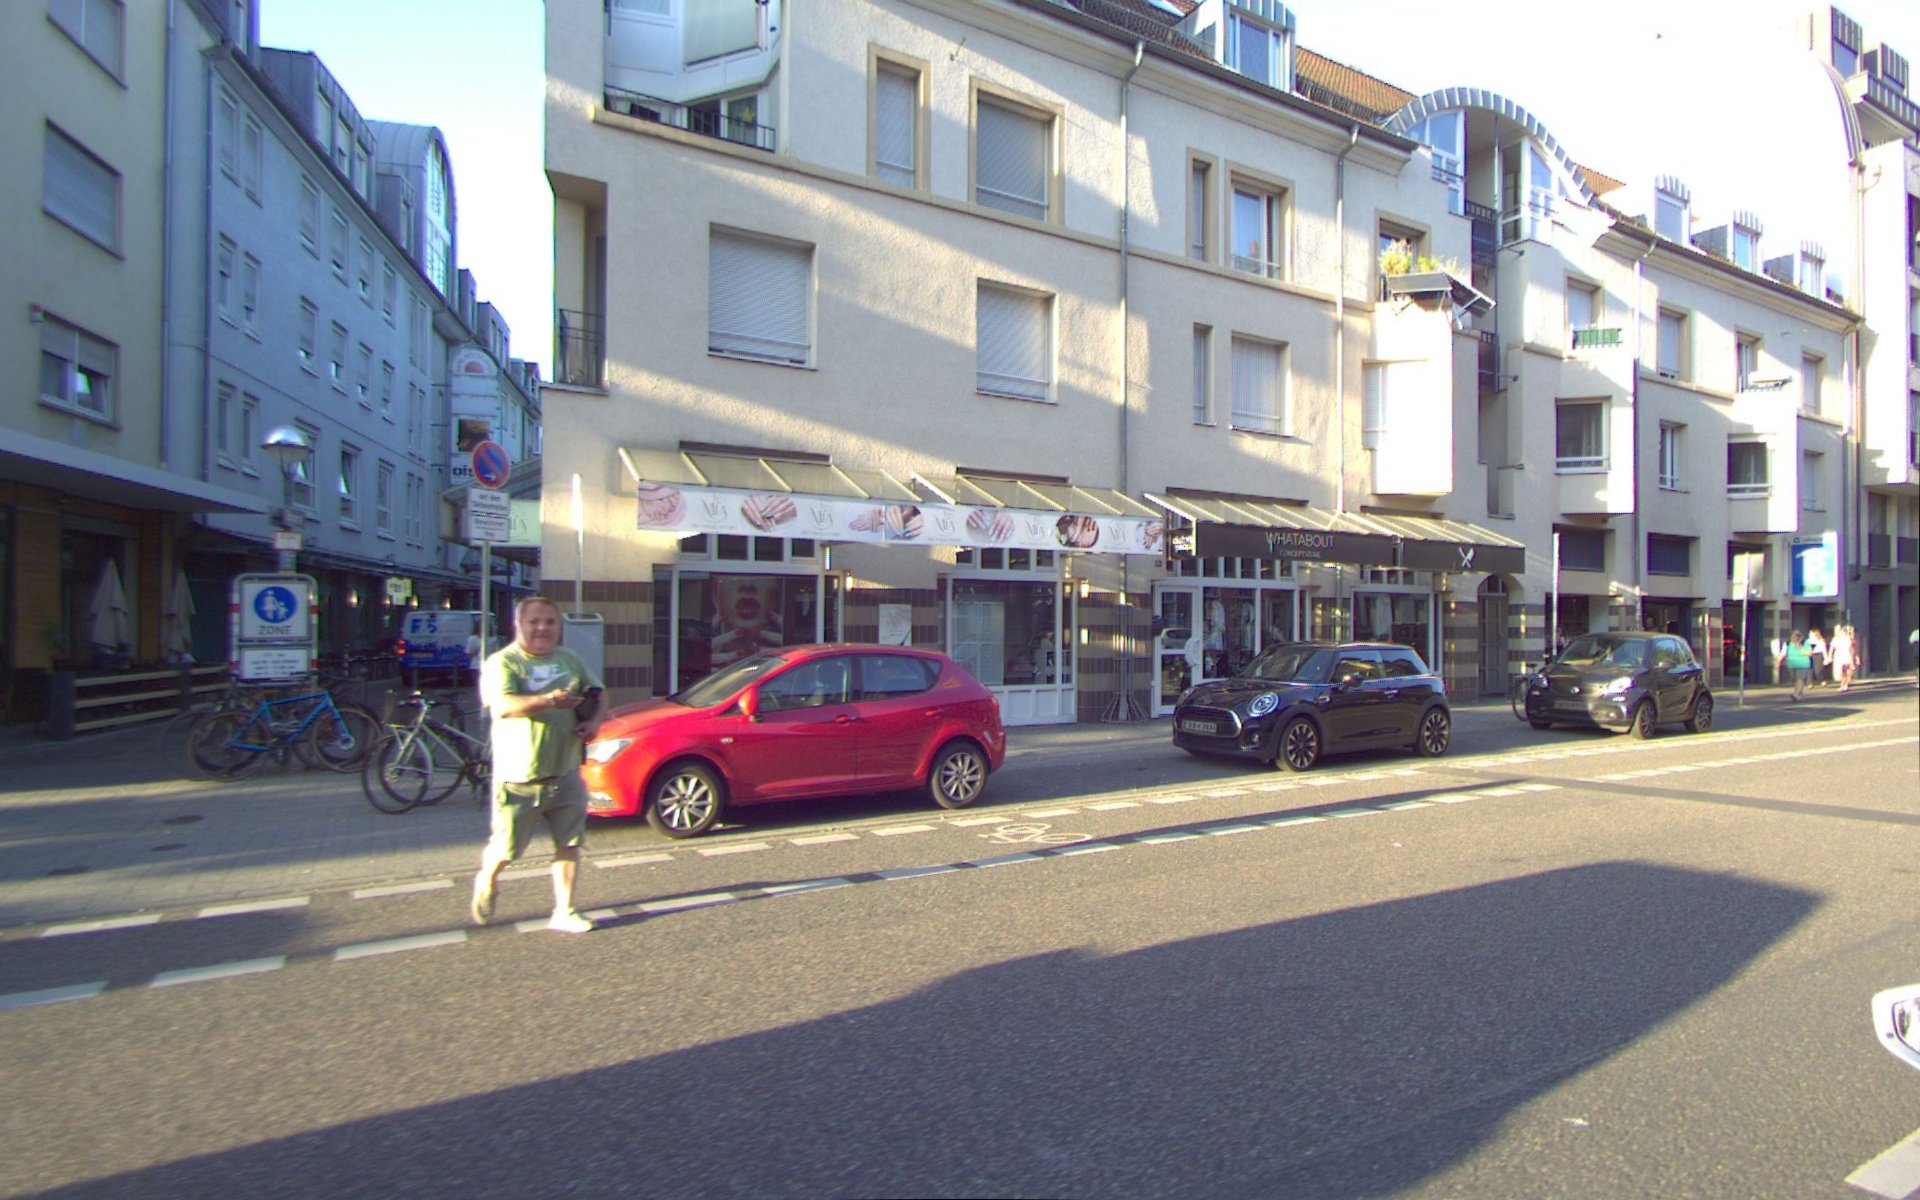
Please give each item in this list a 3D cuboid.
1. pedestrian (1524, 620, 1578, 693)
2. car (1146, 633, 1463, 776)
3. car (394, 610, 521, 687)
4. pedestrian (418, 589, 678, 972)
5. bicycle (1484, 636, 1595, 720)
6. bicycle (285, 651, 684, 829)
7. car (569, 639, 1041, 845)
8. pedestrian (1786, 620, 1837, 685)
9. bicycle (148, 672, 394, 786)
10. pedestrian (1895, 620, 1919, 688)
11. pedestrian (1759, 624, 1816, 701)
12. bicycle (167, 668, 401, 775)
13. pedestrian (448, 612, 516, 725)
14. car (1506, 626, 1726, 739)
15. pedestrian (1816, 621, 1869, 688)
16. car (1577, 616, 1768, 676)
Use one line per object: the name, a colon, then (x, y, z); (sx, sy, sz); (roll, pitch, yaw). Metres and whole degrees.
pedestrian: (13.611, 1.288, 23.141); (0.844, 1.637, 0.714); (1, 0, -27)
car: (4.290, 1.185, 12.415); (3.681, 1.473, 1.703); (2, 0, -30)
car: (-13.332, 1.235, 26.987); (1.966, 1.852, 4.868); (1, -1, -14)
pedestrian: (-2.110, 0.831, 5.152); (0.986, 1.698, 0.895); (1, -3, -43)
bicycle: (10.204, 1.339, 17.652); (2.331, 1.393, 0.607); (1, 0, -31)
bicycle: (-4.156, 1.146, 9.017); (3.092, 1.317, 0.953); (2, 0, -32)
car: (-1.325, 1.104, 8.987); (3.839, 1.421, 1.652); (2, 0, -31)
pedestrian: (22.367, 1.373, 26.400); (0.843, 1.663, 0.714); (1, 0, -25)
bicycle: (-6.866, 1.257, 10.133); (1.993, 1.005, 0.487); (2, 0, -32)
pedestrian: (25.528, 1.431, 26.817); (0.688, 1.790, 0.711); (1, 0, -37)
pedestrian: (18.541, 1.382, 22.501); (0.941, 1.663, 0.712); (1, 0, -32)
bicycle: (-7.080, 1.251, 10.642); (1.991, 1.005, 0.487); (1, 0, -29)
pedestrian: (-7.465, 1.049, 15.727); (0.766, 1.698, 0.904); (1, 0, -16)
car: (10.326, 1.202, 15.785); (3.155, 1.556, 1.781); (1, 0, -33)
pedestrian: (22.575, 1.380, 25.698); (0.844, 1.663, 0.714); (1, 0, -25)
car: (22.161, 1.392, 31.463); (1.974, 1.623, 4.479); (1, 0, -26)
